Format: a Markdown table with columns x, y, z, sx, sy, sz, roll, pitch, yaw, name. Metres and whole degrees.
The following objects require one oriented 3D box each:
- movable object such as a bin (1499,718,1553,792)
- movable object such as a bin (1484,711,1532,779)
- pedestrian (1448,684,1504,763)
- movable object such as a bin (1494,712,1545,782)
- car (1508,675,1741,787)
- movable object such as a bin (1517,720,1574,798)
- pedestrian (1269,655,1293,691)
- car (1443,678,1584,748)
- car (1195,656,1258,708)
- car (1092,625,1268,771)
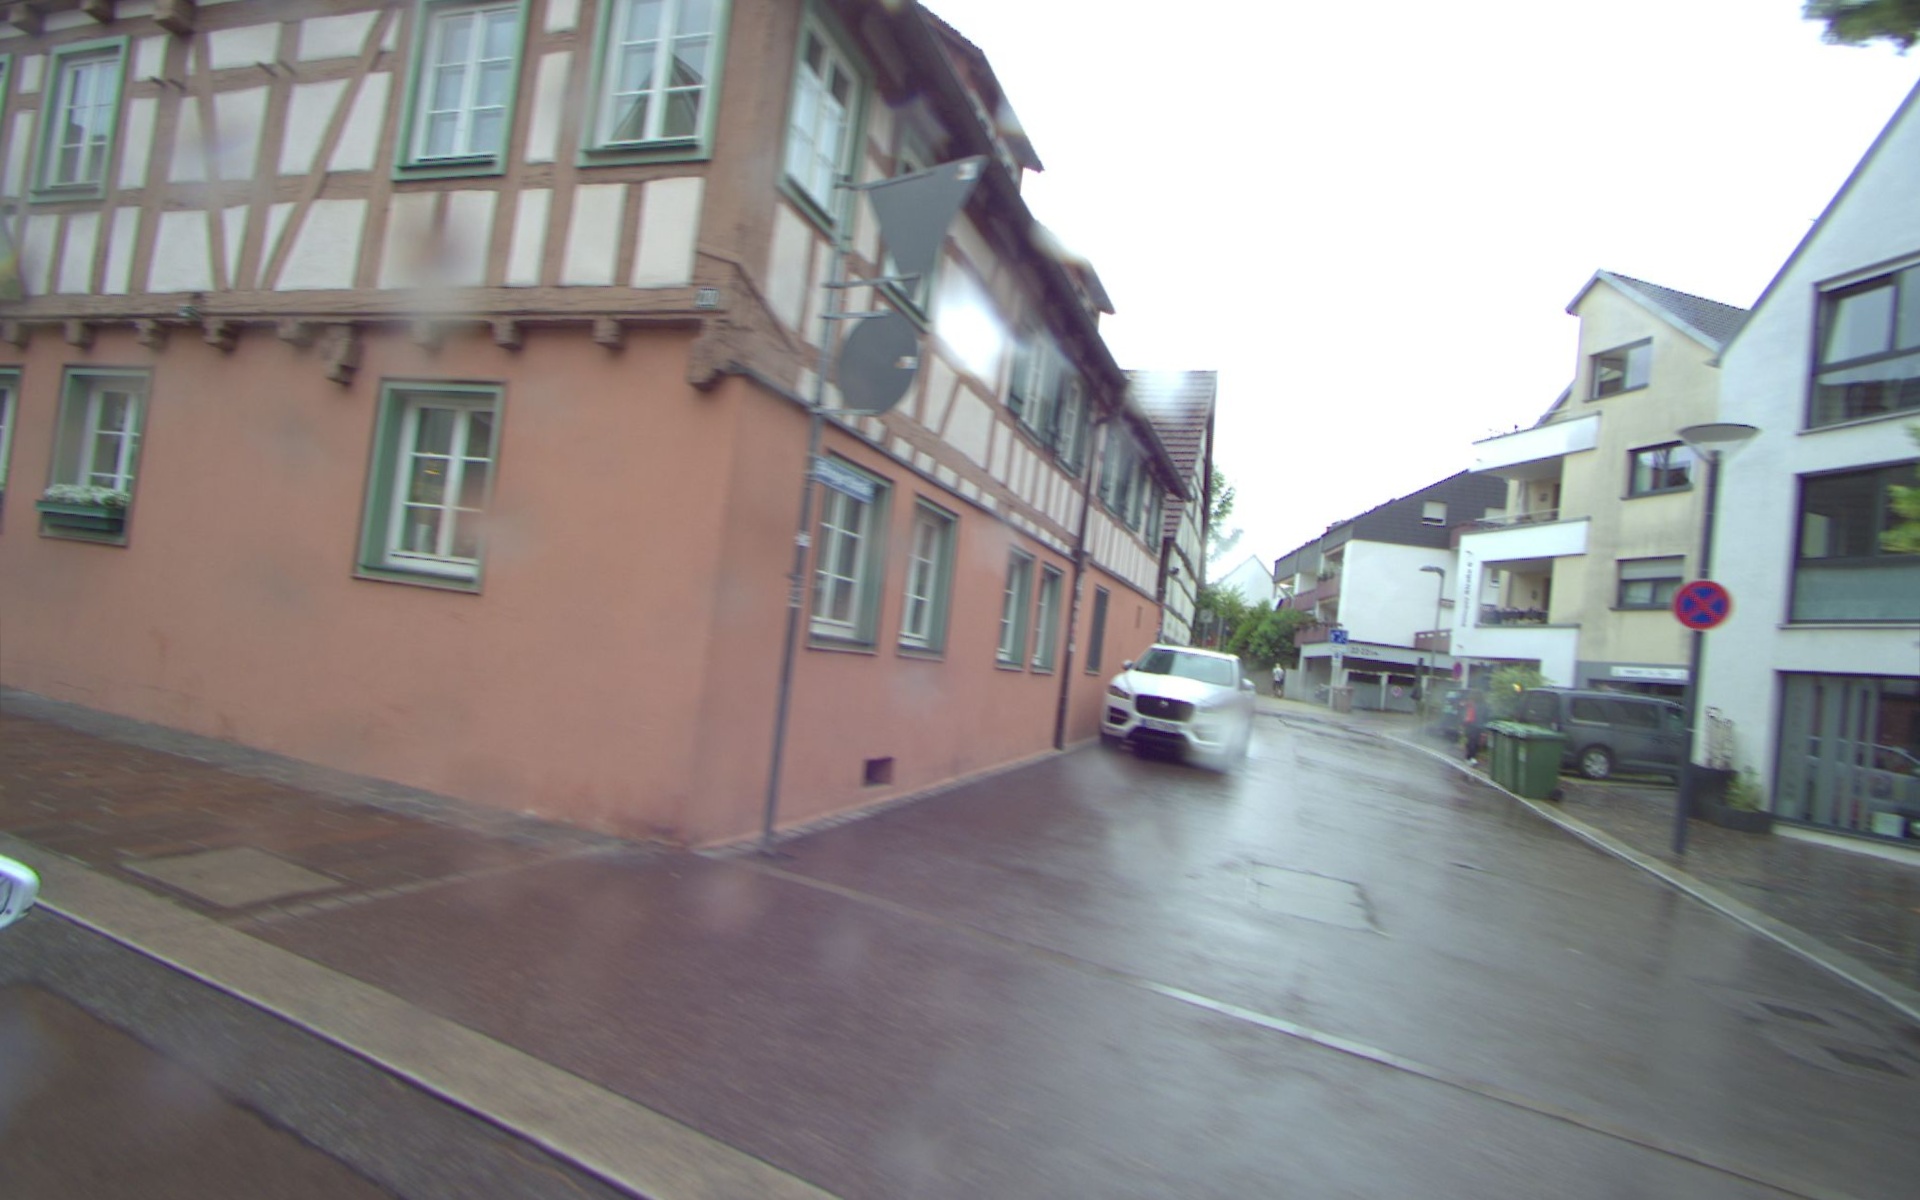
| x | y | z | sx | sy | sz | roll | pitch | yaw | name |
| --- | --- | --- | --- | --- | --- | --- | --- | --- | --- |
| 9.436 | 2.567 | 16.783 | 0.595 | 1.106 | 0.656 | 6 | -1 | 21 | movable object such as a bin |
| 10.022 | 2.641 | 18.424 | 0.595 | 1.106 | 0.656 | 6 | -1 | 21 | movable object such as a bin |
| 10.935 | 2.596 | 21.334 | 0.746 | 1.536 | 0.842 | 6 | -1 | 14 | pedestrian |
| 9.821 | 2.565 | 17.676 | 0.595 | 1.106 | 0.656 | 6 | -1 | 21 | movable object such as a bin |
| 13.871 | 2.708 | 21.142 | 3.661 | 1.792 | 1.627 | 6 | -1 | 1 | car |
| 9.344 | 2.523 | 16.068 | 0.595 | 1.106 | 0.656 | 6 | -1 | 21 | movable object such as a bin |
| 16.235 | 3.683 | 50.857 | 0.820 | 1.724 | 0.902 | 6 | -1 | 5 | pedestrian |
| 18.597 | 3.767 | 34.028 | 3.930 | 1.793 | 1.999 | 5 | -1 | 27 | car |
| 9.631 | 2.921 | 36.297 | 1.962 | 1.548 | 4.004 | 6 | -2 | 16 | car |
| 3.589 | 1.455 | 15.719 | 1.909 | 1.651 | 4.468 | 9 | -1 | 20 | car |
